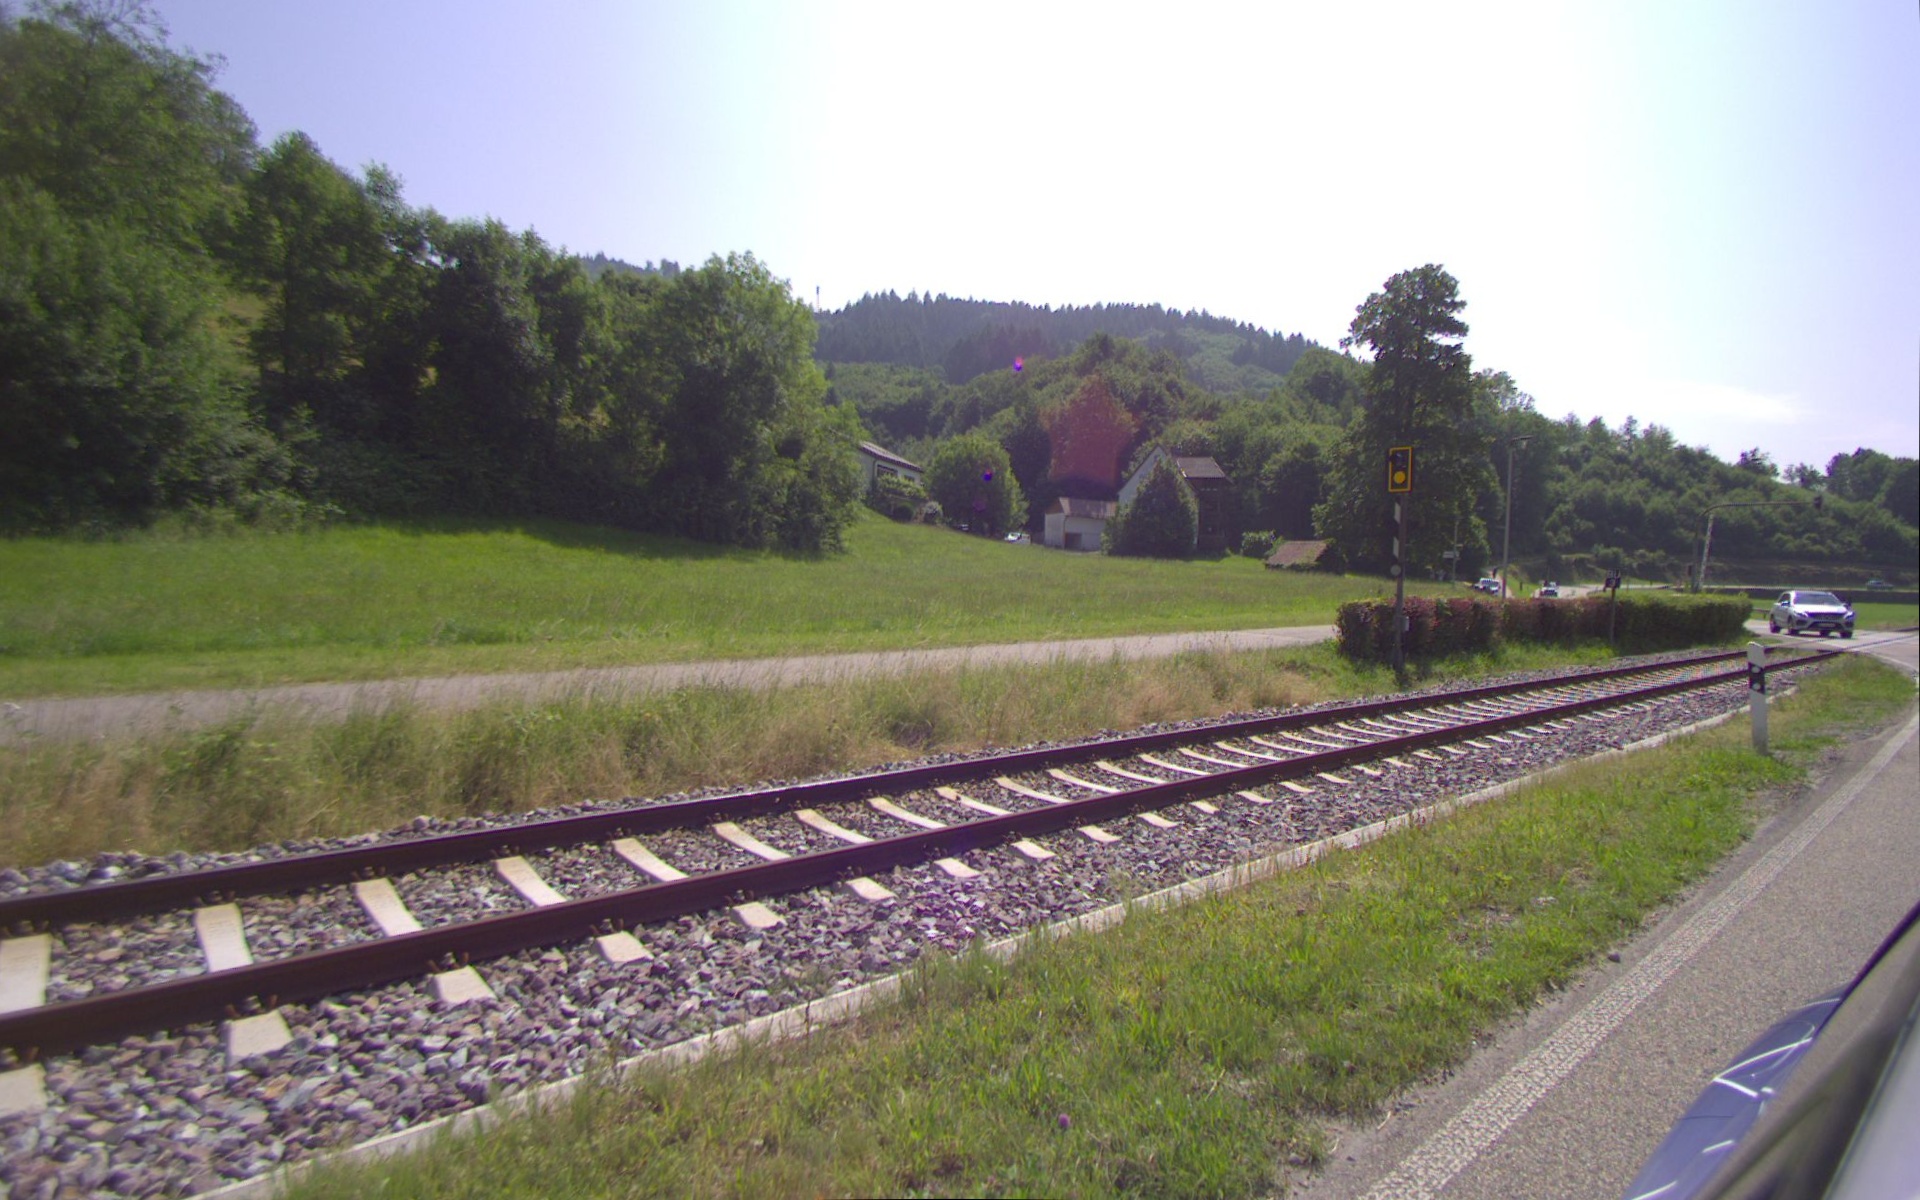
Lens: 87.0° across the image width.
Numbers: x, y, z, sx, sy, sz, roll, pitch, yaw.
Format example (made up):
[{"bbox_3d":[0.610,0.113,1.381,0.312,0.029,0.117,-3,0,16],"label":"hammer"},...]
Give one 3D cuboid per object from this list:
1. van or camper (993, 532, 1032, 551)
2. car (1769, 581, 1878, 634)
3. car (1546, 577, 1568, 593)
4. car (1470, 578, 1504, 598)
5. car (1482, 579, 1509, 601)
[{"bbox_3d":[6.356,-7.071,121.803,2.792,1.973,5.386,5,3,27],"label":"van or camper"},{"bbox_3d":[34.405,0.244,40.485,2.098,1.836,4.417,4,3,25],"label":"car"},{"bbox_3d":[72.084,-1.834,122.145,1.987,1.806,3.953,4,3,33],"label":"car"},{"bbox_3d":[46.745,-1.059,89.817,1.655,1.473,3.703,5,5,13],"label":"car"},{"bbox_3d":[51.399,-0.991,97.275,1.989,1.869,4.823,9,5,27],"label":"car"}]
